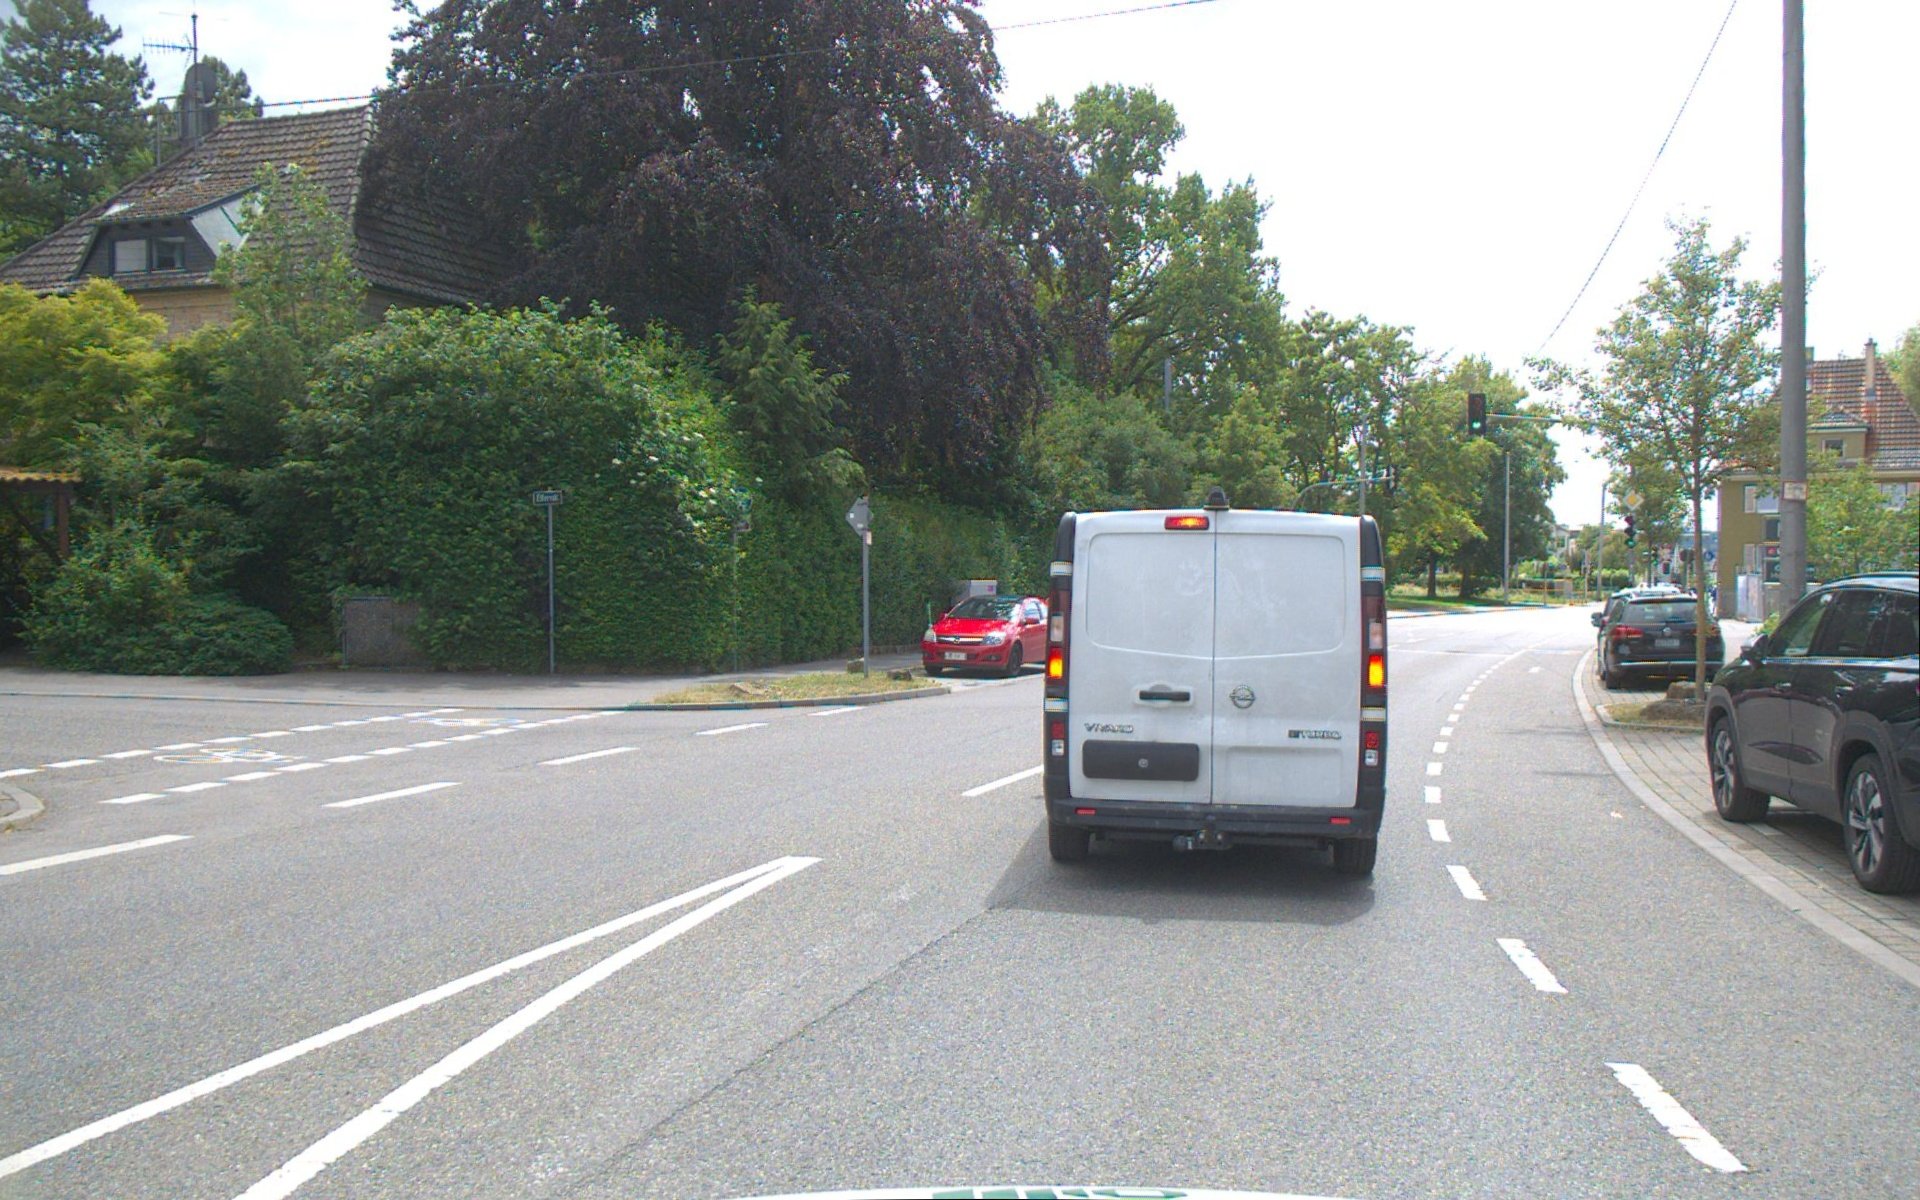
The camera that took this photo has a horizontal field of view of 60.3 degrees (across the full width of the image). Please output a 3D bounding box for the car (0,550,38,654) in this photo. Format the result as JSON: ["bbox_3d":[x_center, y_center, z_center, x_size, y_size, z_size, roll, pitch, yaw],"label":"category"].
[{"bbox_3d":[-15.546,-0.020,25.604,1.699,1.536,3.974,1,1,-22],"label":"car"}]

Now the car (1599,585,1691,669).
[{"bbox_3d":[13.247,0.496,32.123,1.536,1.519,4.000,-1,0,21],"label":"car"}]

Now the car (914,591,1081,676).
[{"bbox_3d":[0.785,0.562,30.584,1.626,1.402,4.566,1,1,21],"label":"car"}]

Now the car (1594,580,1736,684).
[{"bbox_3d":[11.563,0.484,27.384,1.728,1.503,4.937,-3,-1,19],"label":"car"}]

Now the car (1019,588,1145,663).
[{"bbox_3d":[2.684,0.496,35.539,1.615,1.476,4.106,1,1,20],"label":"car"}]

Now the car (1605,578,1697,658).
[{"bbox_3d":[15.511,0.393,37.276,1.701,1.644,4.387,-2,-1,21],"label":"car"}]

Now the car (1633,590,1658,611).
[{"bbox_3d":[55.949,0.024,135.070,1.796,1.645,4.152,-1,1,22],"label":"car"}]

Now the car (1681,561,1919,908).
[{"bbox_3d":[5.865,0.611,9.833,1.838,1.650,4.851,-1,0,11],"label":"car"}]

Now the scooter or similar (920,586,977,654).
[{"bbox_3d":[-0.236,0.427,36.283,0.656,1.436,1.649,1,1,22],"label":"scooter or similar"}]

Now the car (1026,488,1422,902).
[{"bbox_3d":[1.685,0.422,10.703,1.897,1.994,4.837,2,1,9],"label":"car"}]
